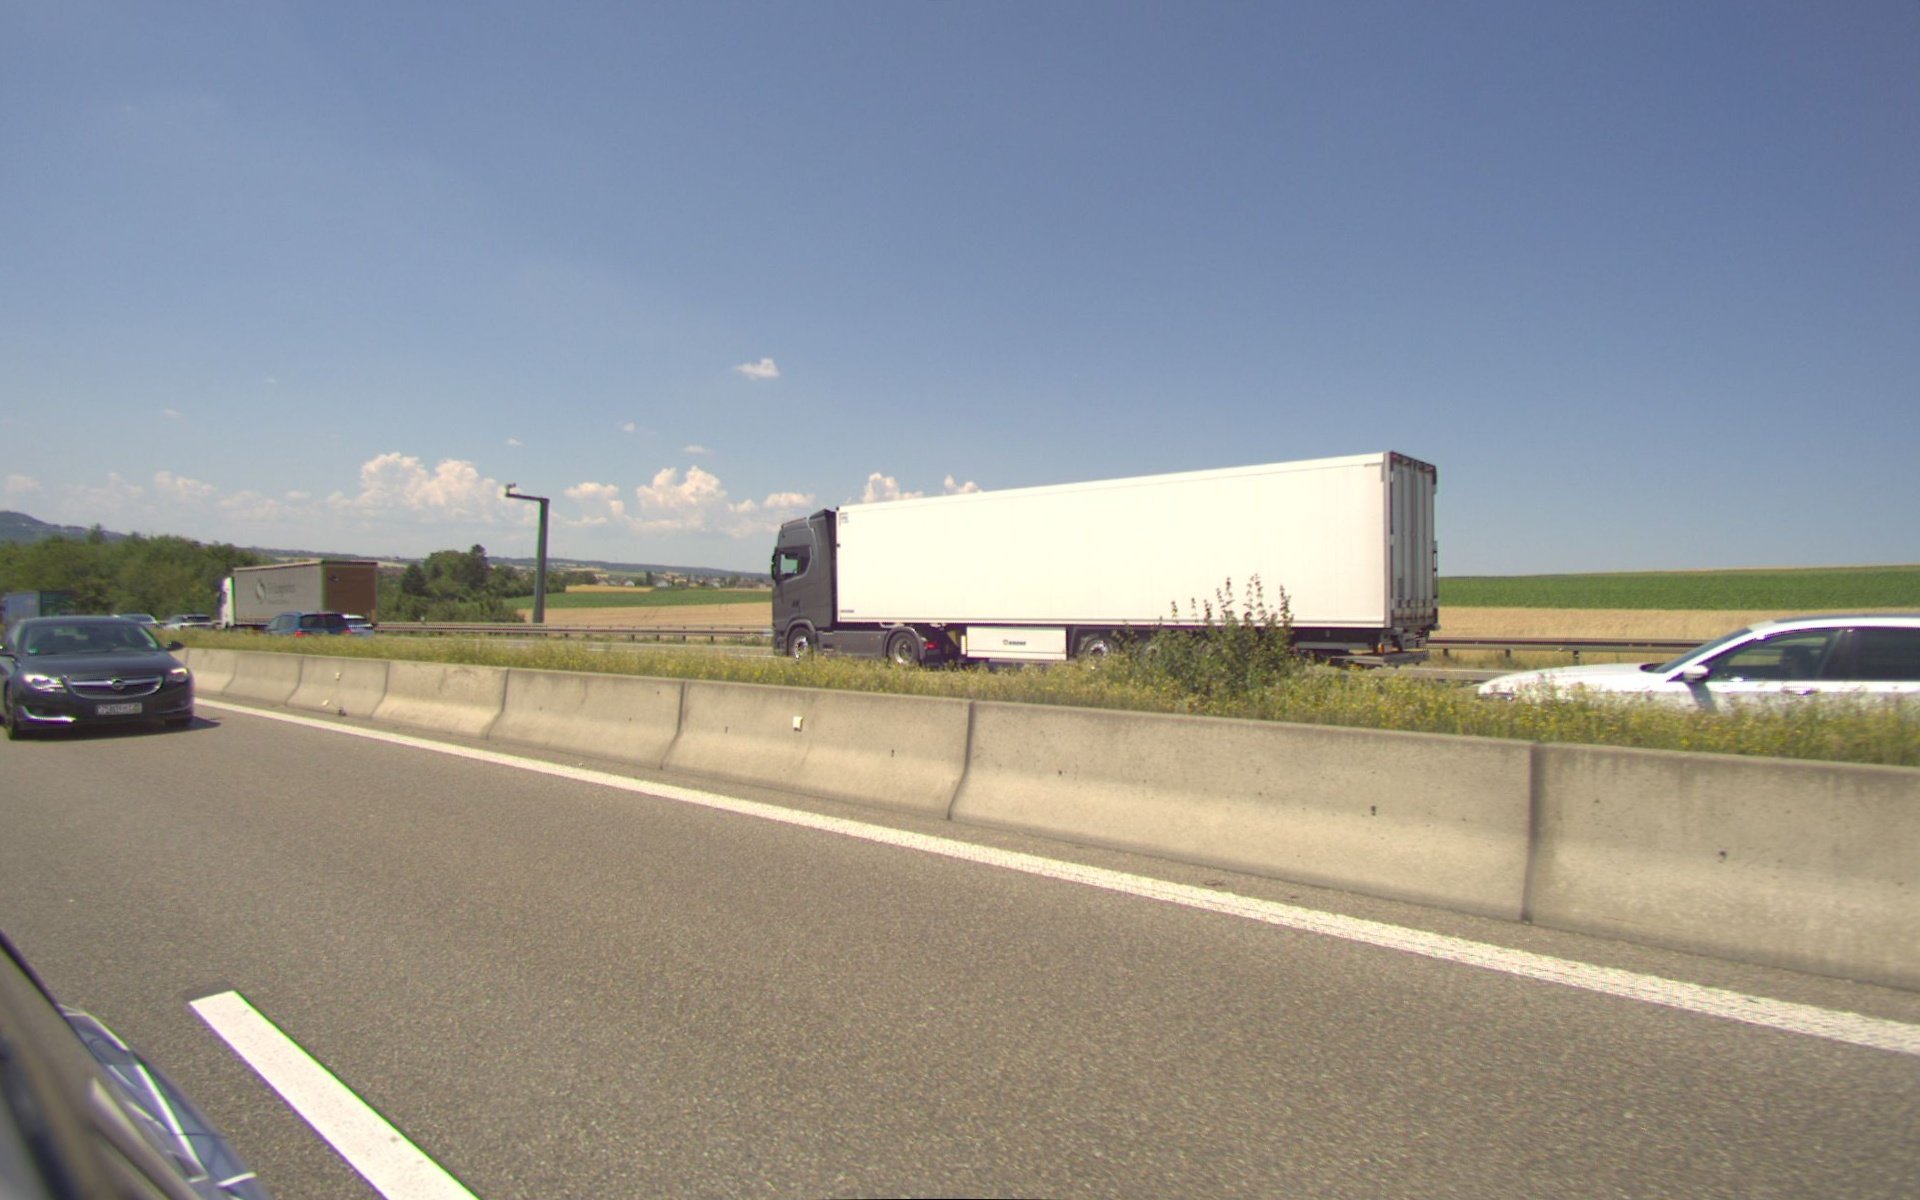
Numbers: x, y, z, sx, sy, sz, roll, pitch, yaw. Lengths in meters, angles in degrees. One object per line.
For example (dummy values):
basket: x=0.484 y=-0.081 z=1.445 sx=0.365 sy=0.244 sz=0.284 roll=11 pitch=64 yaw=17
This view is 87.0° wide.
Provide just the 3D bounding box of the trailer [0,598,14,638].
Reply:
trailer: x=-105.263 y=1.998 z=108.880 sx=14.360 sy=4.131 sz=2.925 roll=-1 pitch=0 yaw=38

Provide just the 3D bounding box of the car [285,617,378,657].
car: x=-25.341 y=1.445 z=40.759 sx=4.569 sy=1.467 sz=1.847 roll=-1 pitch=0 yaw=40

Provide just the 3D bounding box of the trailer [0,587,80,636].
trailer: x=-85.070 y=1.065 z=93.412 sx=14.361 sy=4.225 sz=3.131 roll=-1 pitch=0 yaw=38

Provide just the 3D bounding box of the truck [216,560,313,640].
truck: x=-40.136 y=0.045 z=58.362 sx=6.142 sy=4.360 sz=3.100 roll=-1 pitch=0 yaw=40

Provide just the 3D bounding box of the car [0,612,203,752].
car: x=-11.880 y=0.974 z=13.588 sx=4.746 sy=1.555 sz=1.784 roll=-1 pitch=-1 yaw=41

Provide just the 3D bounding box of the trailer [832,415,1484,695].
trailer: x=3.169 y=-0.605 z=21.800 sx=14.019 sy=4.420 sz=3.208 roll=-1 pitch=0 yaw=41

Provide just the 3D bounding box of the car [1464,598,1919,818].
car: x=7.462 y=0.794 z=8.302 sx=5.664 sy=1.599 sz=1.907 roll=-1 pitch=0 yaw=40

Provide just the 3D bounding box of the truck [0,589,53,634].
truck: x=-90.231 y=1.082 z=97.510 sx=6.925 sy=4.121 sz=3.047 roll=-1 pitch=0 yaw=38

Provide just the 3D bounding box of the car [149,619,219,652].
car: x=-40.676 y=1.832 z=53.024 sx=4.585 sy=1.599 sz=1.973 roll=-1 pitch=-1 yaw=40

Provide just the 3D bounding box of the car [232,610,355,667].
car: x=-21.691 y=1.203 z=32.847 sx=4.960 sy=1.680 sz=1.974 roll=-1 pitch=0 yaw=40

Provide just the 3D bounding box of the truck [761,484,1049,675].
truck: x=-1.560 y=-0.391 z=25.920 sx=7.122 sy=4.238 sz=3.193 roll=-1 pitch=-1 yaw=41

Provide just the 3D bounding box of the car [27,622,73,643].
car: x=-68.279 y=2.429 z=75.948 sx=4.485 sy=1.471 sz=1.825 roll=-1 pitch=0 yaw=38

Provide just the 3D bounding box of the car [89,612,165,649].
car: x=-38.518 y=1.390 z=46.759 sx=4.585 sy=1.583 sz=1.860 roll=-1 pitch=0 yaw=40

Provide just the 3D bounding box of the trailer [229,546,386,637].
trailer: x=-35.245 y=-0.329 z=54.212 sx=14.535 sy=4.357 sz=3.092 roll=-1 pitch=0 yaw=41

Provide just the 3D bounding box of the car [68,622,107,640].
car: x=-72.507 y=2.580 z=84.083 sx=4.344 sy=1.396 sz=1.642 roll=-1 pitch=0 yaw=38
